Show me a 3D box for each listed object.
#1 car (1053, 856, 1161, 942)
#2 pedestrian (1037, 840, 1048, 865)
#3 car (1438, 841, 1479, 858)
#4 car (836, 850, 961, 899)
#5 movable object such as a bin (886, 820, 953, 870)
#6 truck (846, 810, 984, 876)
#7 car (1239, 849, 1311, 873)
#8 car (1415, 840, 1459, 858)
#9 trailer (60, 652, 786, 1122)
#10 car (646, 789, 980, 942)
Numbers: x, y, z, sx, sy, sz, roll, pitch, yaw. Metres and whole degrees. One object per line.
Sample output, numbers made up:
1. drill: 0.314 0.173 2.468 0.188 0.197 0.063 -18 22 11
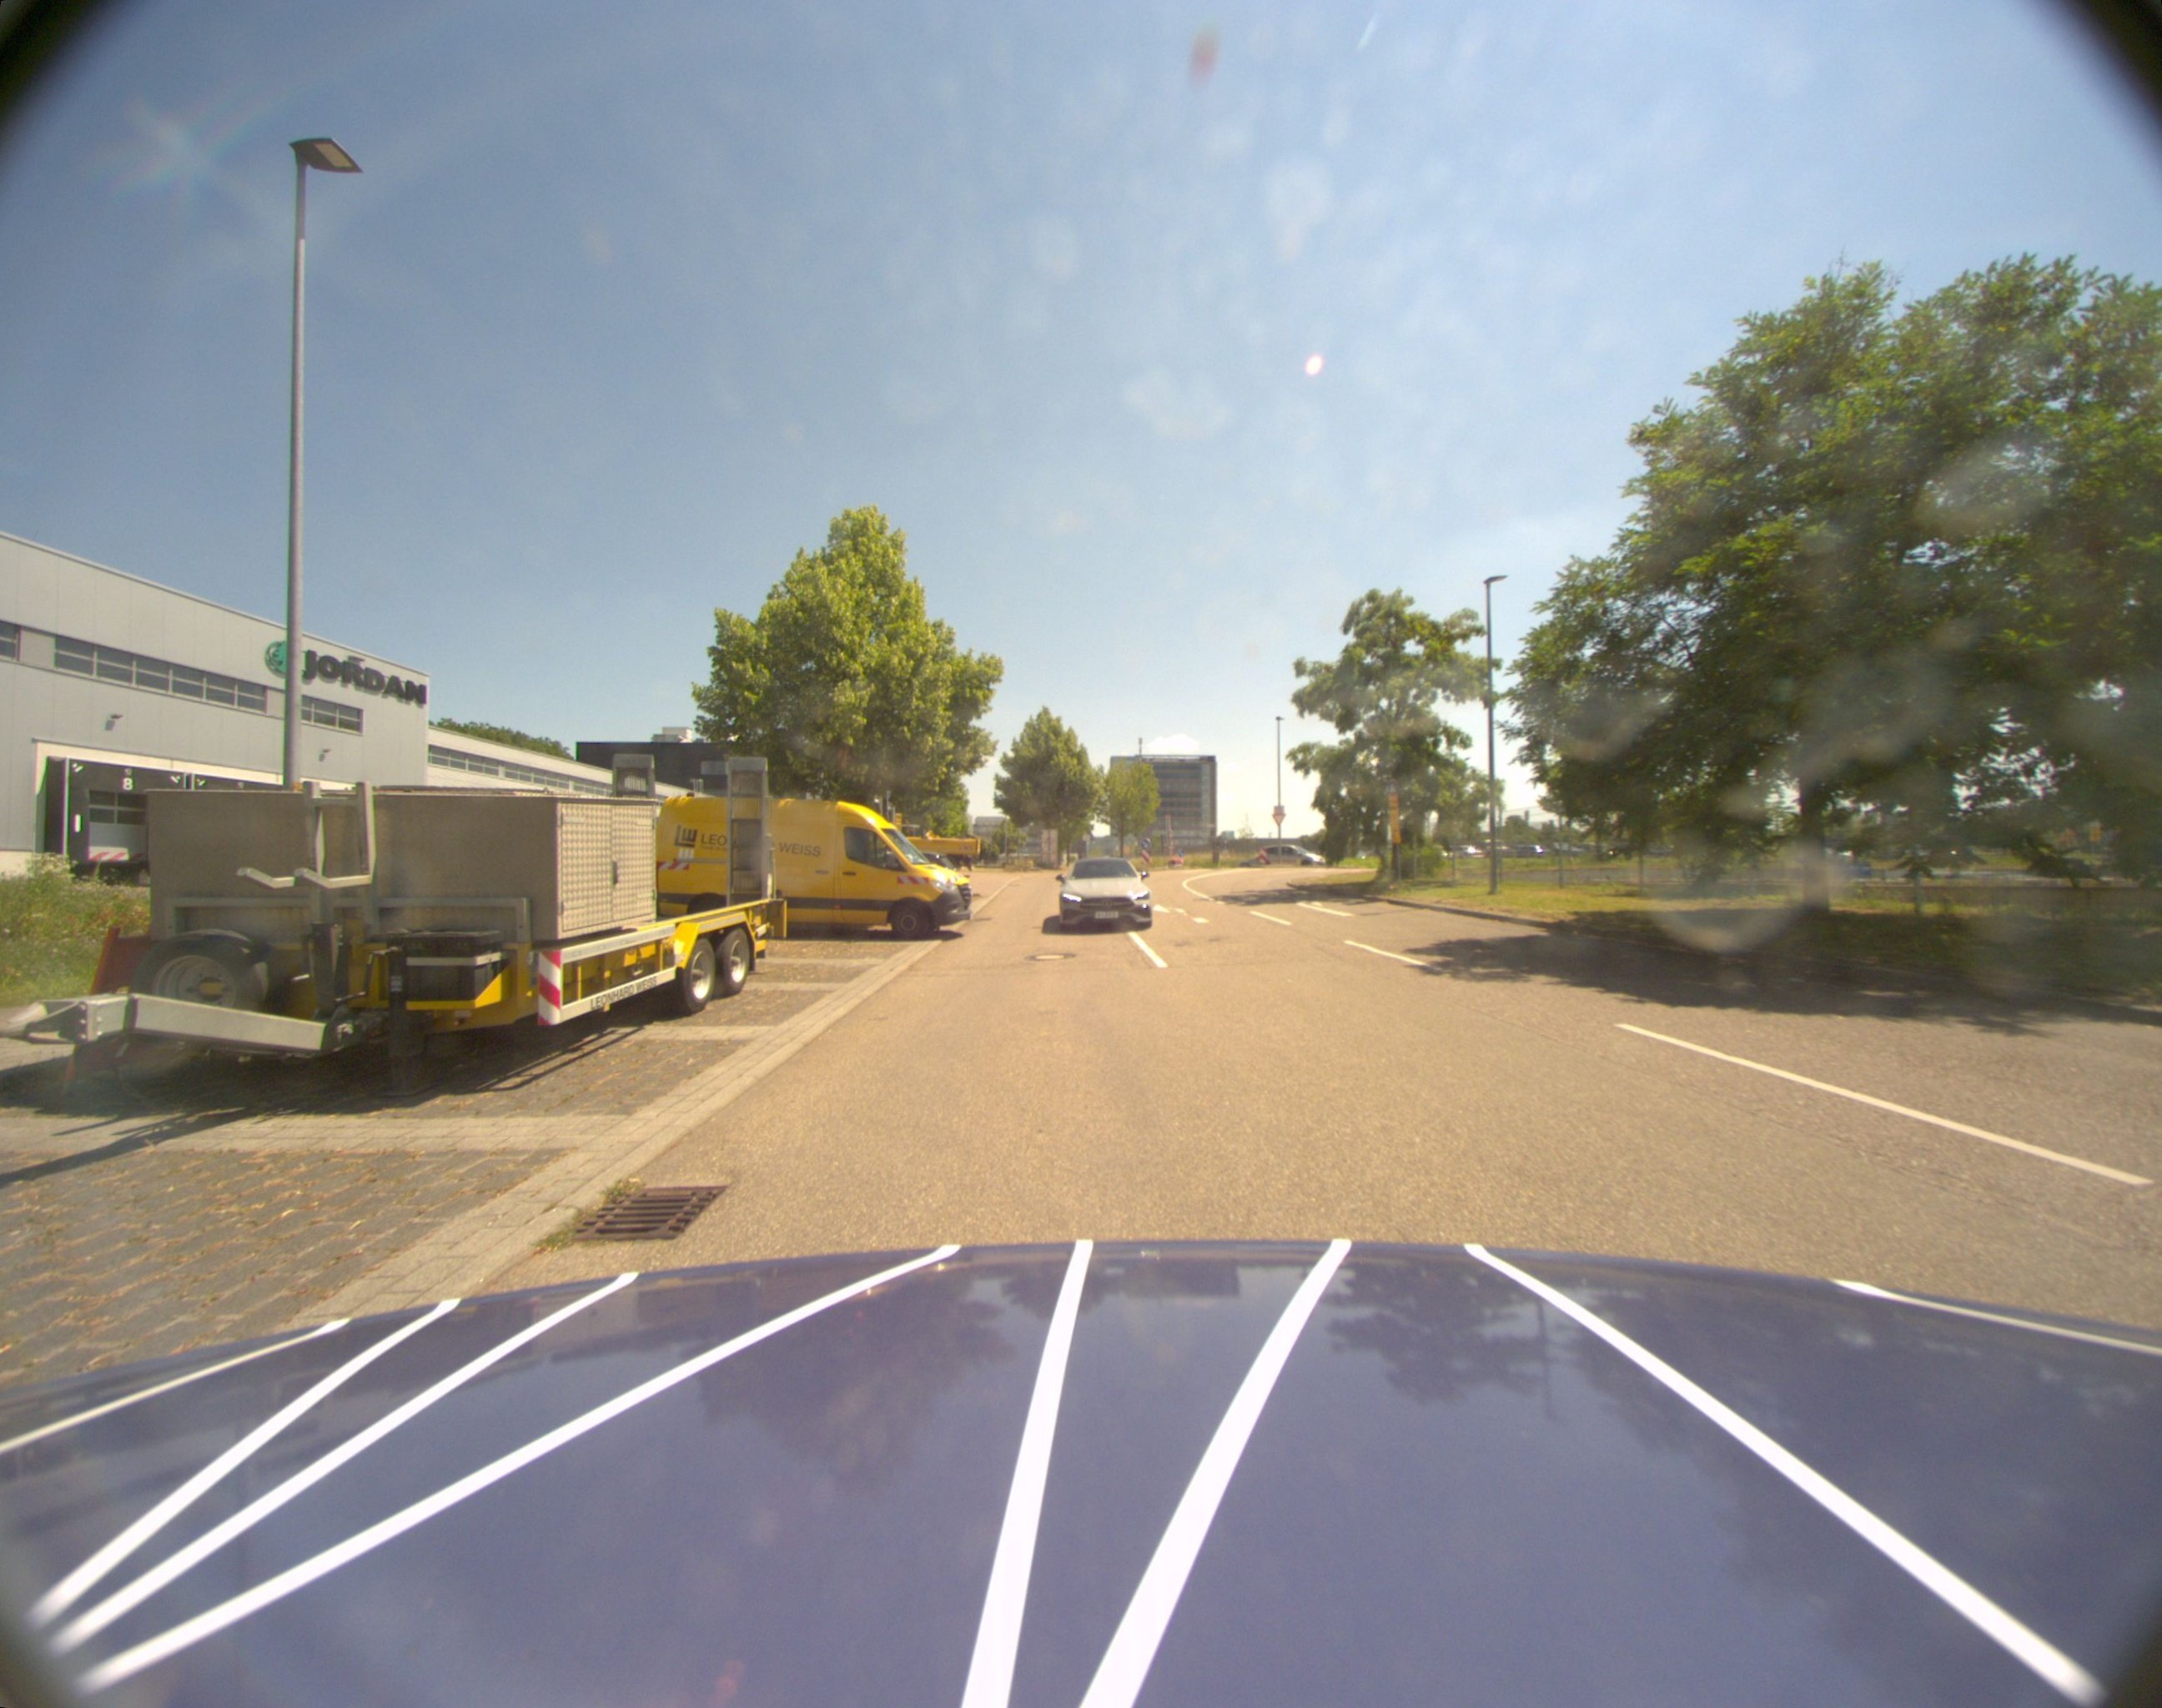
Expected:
1. car: 0.449 0.833 16.222 1.897 1.375 4.632 -3 1 -1
2. pedestrian: -2.723 -0.106 53.568 0.578 1.659 0.532 -3 -3 25
3. car: 29.783 -0.318 60.060 1.500 1.174 3.271 -2 -1 -3
4. car: -5.871 0.630 24.695 3.670 1.454 1.626 1 1 -2
5. movable object such as a bin: -9.039 -0.535 43.190 1.998 2.566 6.578 -1 1 3
6. truck: -8.092 -0.549 37.730 6.423 3.119 2.593 0 2 -6
7. car: 13.462 0.487 52.745 4.486 1.365 1.678 -4 -4 26
8. car: 27.904 -0.369 59.692 1.574 1.289 3.878 -2 -1 -1
9. trailer: -5.106 0.222 7.472 2.664 2.840 5.516 1 0 -6
10. car: -5.007 0.236 14.858 5.794 2.716 2.000 1 0 -1
